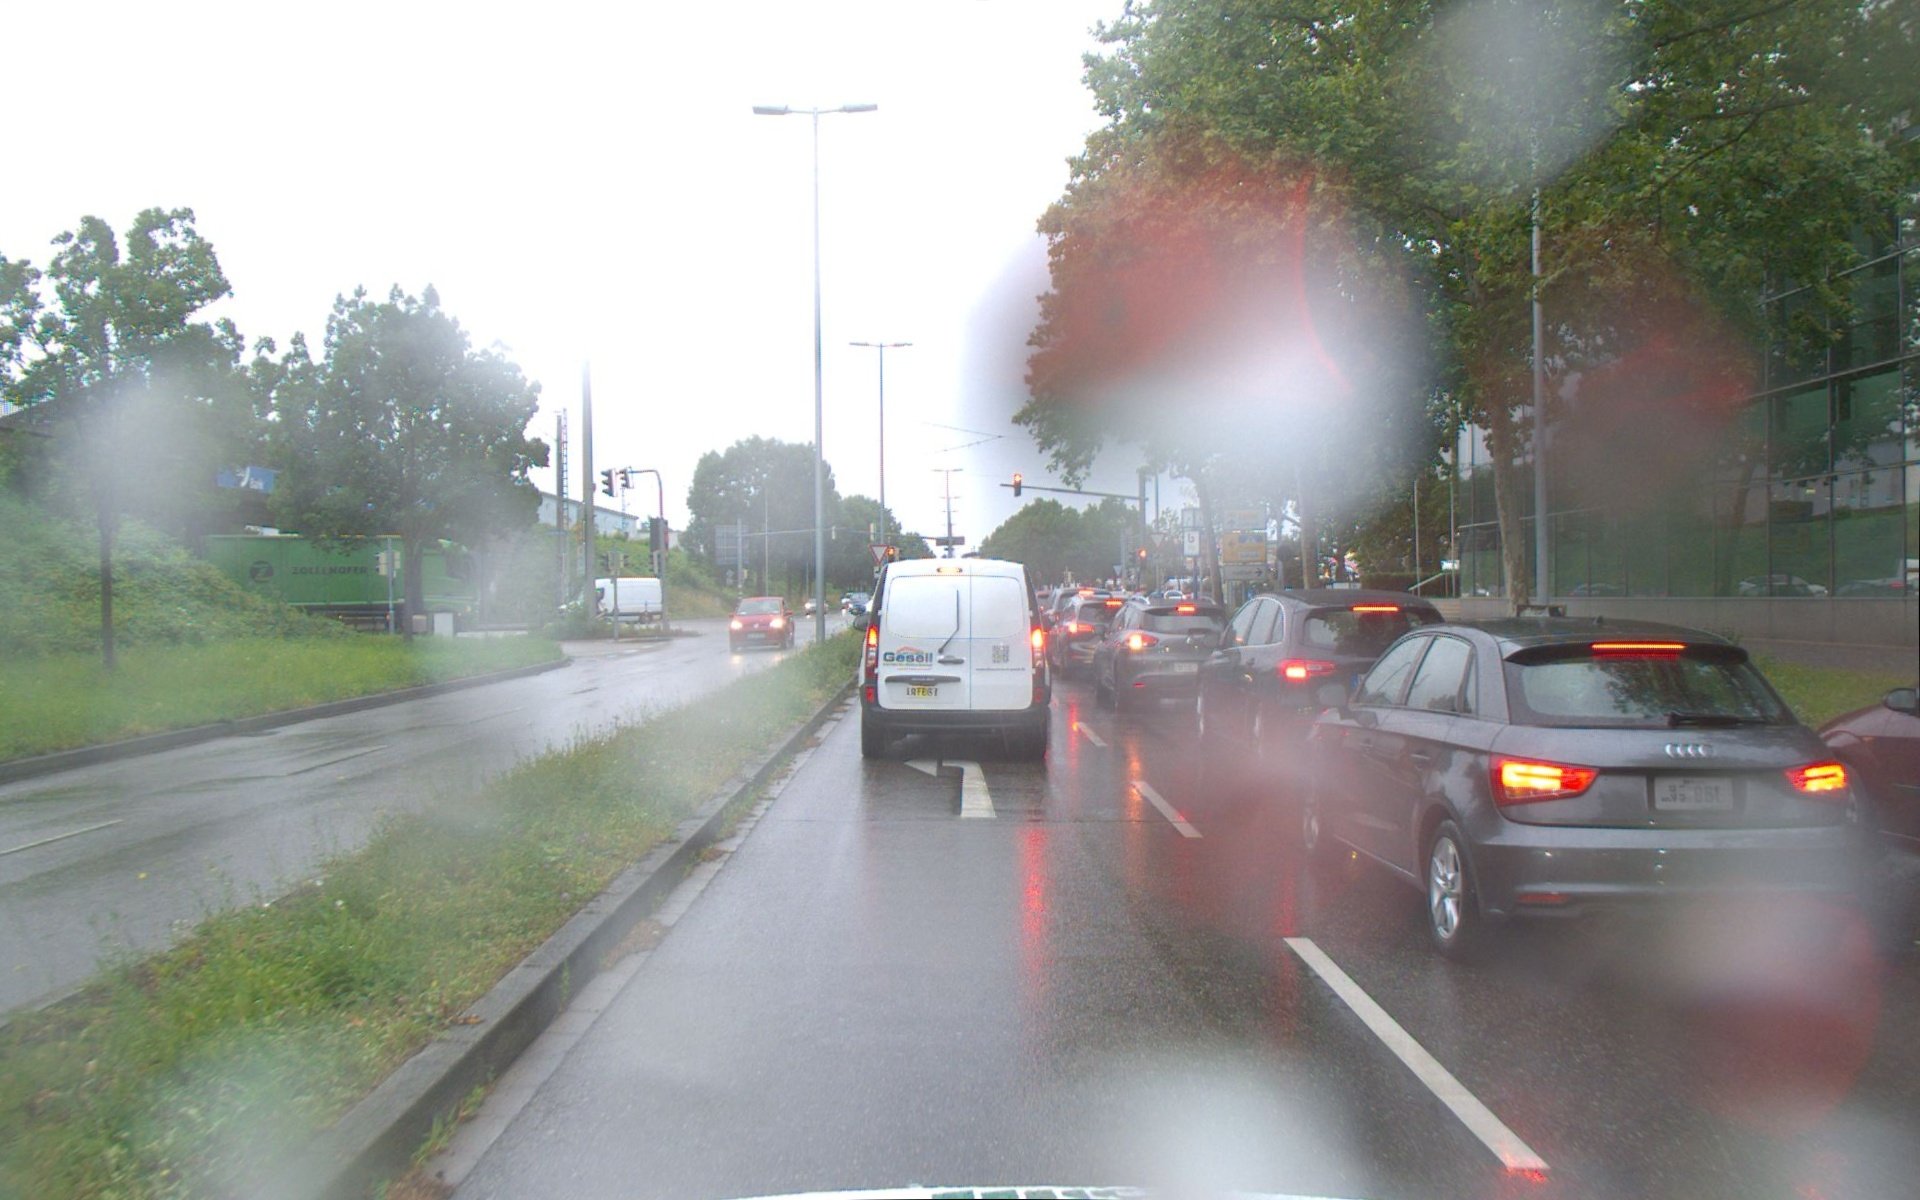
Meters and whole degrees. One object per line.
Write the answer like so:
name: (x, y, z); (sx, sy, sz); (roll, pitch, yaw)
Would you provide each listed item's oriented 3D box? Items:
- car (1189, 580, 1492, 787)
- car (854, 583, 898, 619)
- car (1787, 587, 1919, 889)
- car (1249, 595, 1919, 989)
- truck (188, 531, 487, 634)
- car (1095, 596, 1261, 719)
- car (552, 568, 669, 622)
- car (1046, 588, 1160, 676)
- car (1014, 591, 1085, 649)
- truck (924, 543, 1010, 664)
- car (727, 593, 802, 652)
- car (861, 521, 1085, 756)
car: (3.232, 0.618, 14.827); (1.674, 1.577, 3.999); (0, 1, -2)
car: (-3.882, 0.019, 77.071); (1.923, 1.551, 4.333); (-2, 1, -2)
car: (5.894, 0.723, 7.857); (1.802, 1.563, 4.110); (1, 0, -2)
car: (2.835, 0.732, 8.265); (1.953, 1.478, 3.998); (0, 0, -2)
truck: (-22.753, -0.516, 60.963); (10.035, 3.512, 2.622); (1, -2, -38)
car: (2.844, 0.696, 22.288); (1.676, 1.470, 4.000); (0, 1, -1)
car: (-19.002, -0.225, 90.088); (5.956, 2.792, 1.973); (1, -2, -37)
car: (2.521, 0.520, 29.902); (1.676, 1.470, 4.000); (0, 1, -1)
car: (2.391, 0.510, 44.816); (1.676, 1.470, 4.000); (0, 1, -1)
truck: (0.099, 0.082, 36.309); (1.721, 2.509, 3.998); (0, 0, -2)
car: (-5.584, 0.625, 47.592); (1.680, 1.540, 3.614); (-2, 1, 0)
car: (0.052, 0.381, 16.441); (1.953, 2.049, 3.998); (0, -1, -2)
